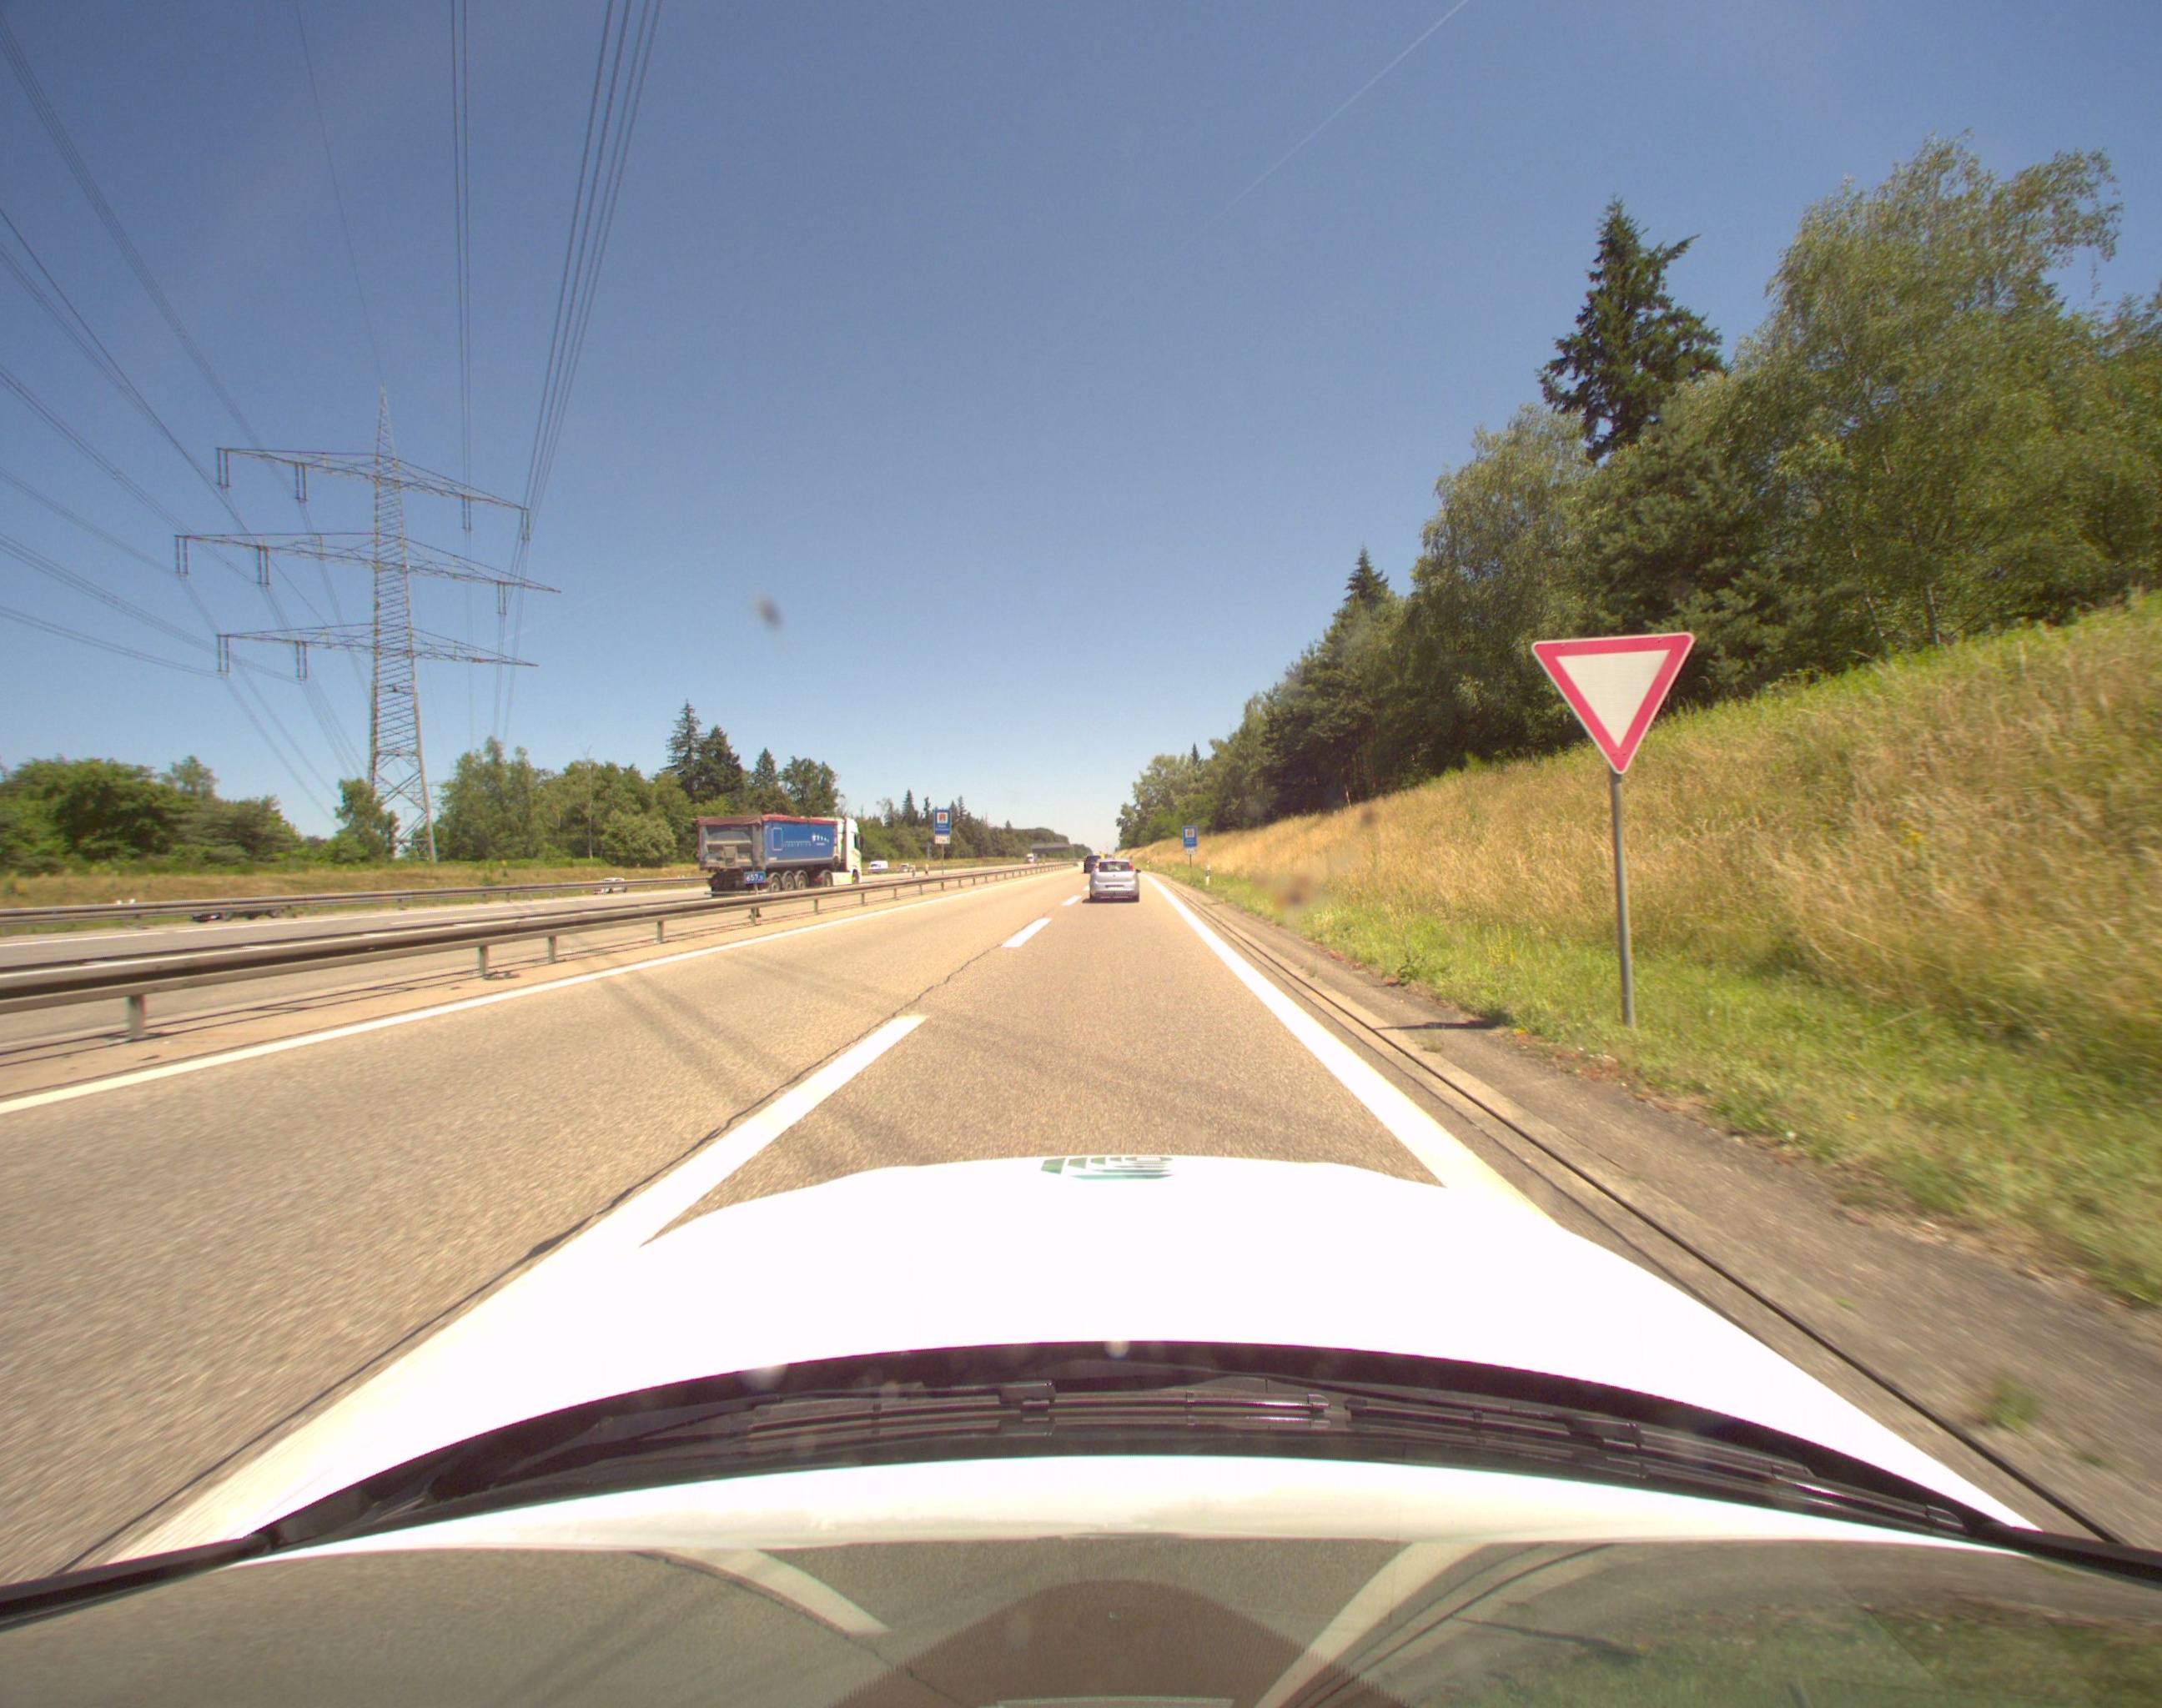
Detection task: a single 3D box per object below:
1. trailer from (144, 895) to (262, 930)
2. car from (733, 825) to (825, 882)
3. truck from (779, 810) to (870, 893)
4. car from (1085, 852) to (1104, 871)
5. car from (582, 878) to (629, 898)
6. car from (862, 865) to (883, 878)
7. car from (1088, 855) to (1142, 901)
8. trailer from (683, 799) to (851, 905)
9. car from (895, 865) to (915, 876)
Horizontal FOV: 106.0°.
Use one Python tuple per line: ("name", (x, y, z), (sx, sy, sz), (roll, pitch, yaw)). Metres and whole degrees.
("trailer", (-51.899, 3.409, 48.290), (1.986, 1.669, 4.461), (-2, 0, 2))
("car", (-16.765, 0.032, 45.686), (2.623, 2.897, 6.475), (-2, -1, 1))
("truck", (-12.701, -0.121, 40.689), (2.745, 3.807, 4.626), (-2, 0, 3))
("car", (1.299, 0.744, 78.840), (1.701, 1.676, 3.397), (-2, -2, 0))
("car", (-45.993, 3.293, 78.865), (1.986, 1.783, 4.001), (-2, -1, 1))
("car", (-40.677, 3.366, 159.075), (1.985, 2.543, 6.920), (-2, -1, 4))
("car", (1.176, 0.798, 28.006), (1.699, 1.482, 3.399), (-1, -1, 2))
("trailer", (-13.029, -0.095, 35.103), (2.759, 3.807, 9.894), (-2, 0, 3))
("car", (-28.769, 2.710, 133.185), (1.985, 1.783, 4.817), (-2, -1, 4))
